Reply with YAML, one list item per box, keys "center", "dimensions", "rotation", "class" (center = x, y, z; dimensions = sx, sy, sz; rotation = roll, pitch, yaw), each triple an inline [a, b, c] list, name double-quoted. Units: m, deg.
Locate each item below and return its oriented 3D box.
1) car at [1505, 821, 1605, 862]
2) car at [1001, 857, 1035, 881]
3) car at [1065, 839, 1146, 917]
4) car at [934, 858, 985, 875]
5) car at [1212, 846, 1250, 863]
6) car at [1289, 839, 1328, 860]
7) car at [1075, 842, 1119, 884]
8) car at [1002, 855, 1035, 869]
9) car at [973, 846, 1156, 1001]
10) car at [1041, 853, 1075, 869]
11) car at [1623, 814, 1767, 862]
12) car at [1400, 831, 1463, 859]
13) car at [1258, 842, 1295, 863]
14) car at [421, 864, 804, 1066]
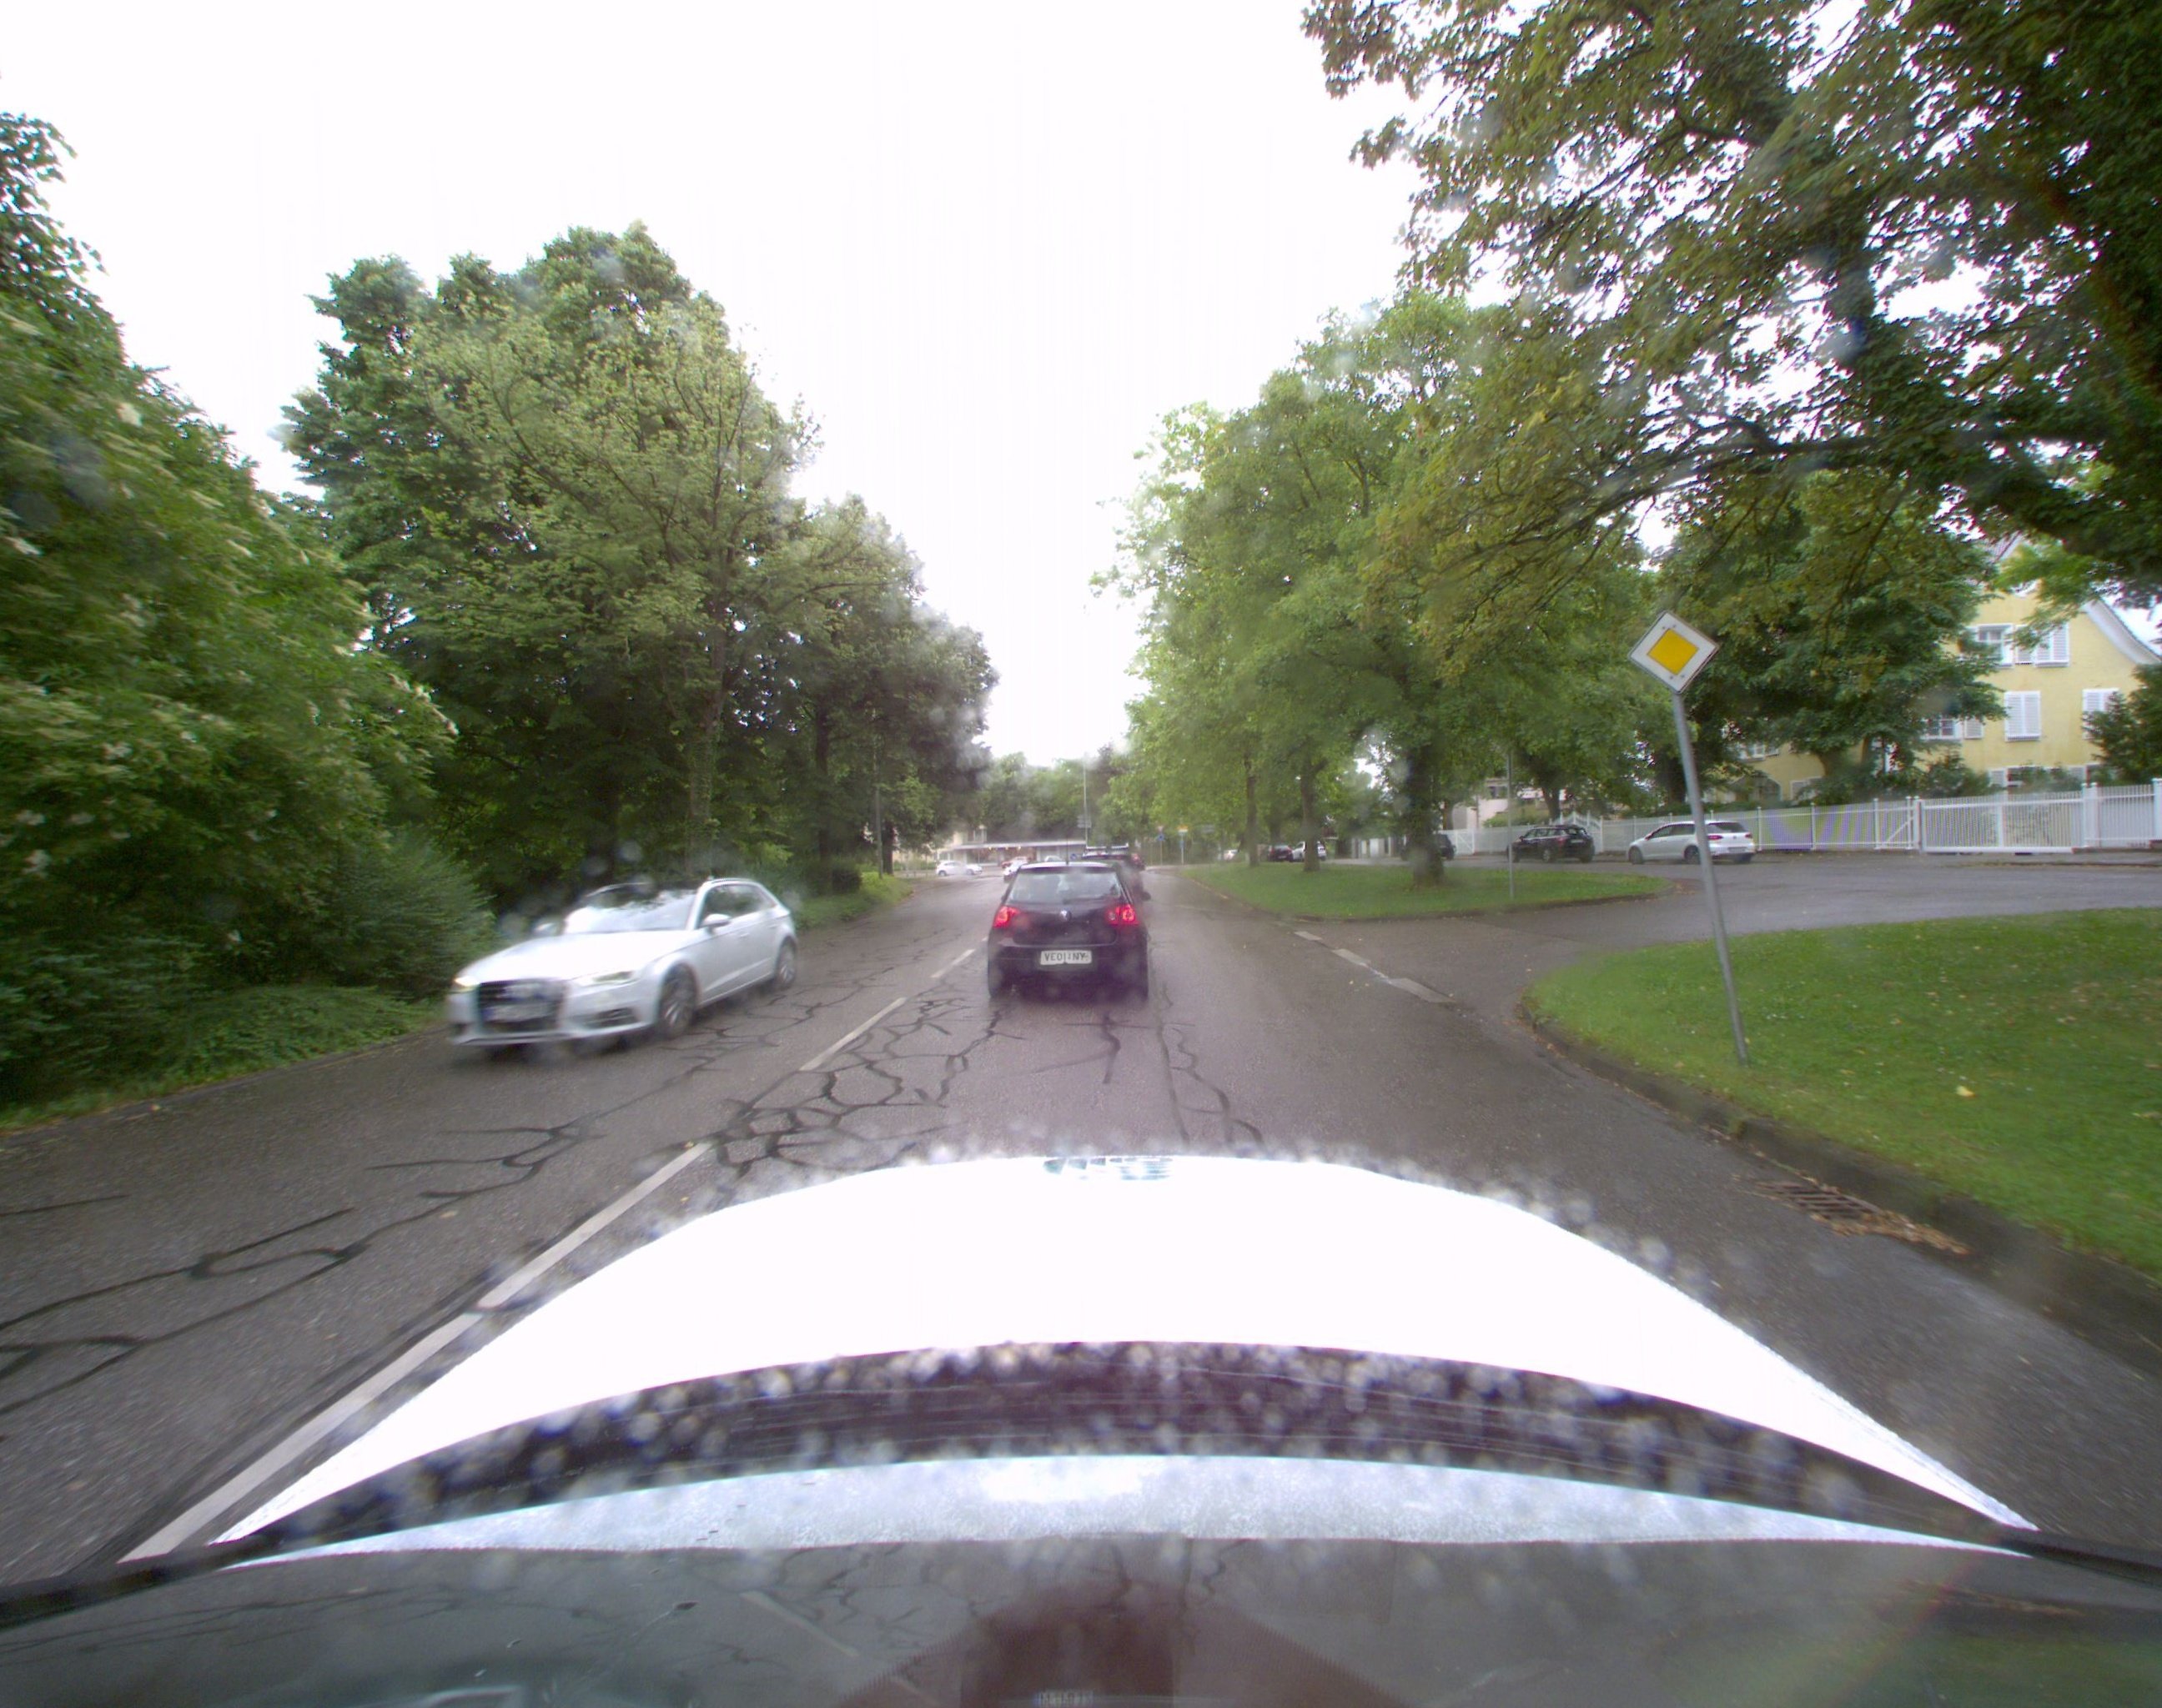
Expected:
- center: [20.002, -0.514, 34.580]
  dimensions: [1.796, 1.529, 4.112]
  rotation: [-3, 1, 0]
  class: "car"
- center: [-3.996, 0.919, 52.199]
  dimensions: [1.791, 1.393, 3.978]
  rotation: [-4, 0, 0]
  class: "car"
- center: [0.675, 0.580, 21.273]
  dimensions: [1.848, 1.784, 4.003]
  rotation: [-2, 0, 3]
  class: "car"
- center: [-11.597, 1.155, 77.906]
  dimensions: [4.479, 1.419, 1.848]
  rotation: [-3, 0, 1]
  class: "car"
- center: [16.914, 0.001, 91.566]
  dimensions: [4.020, 1.706, 1.977]
  rotation: [-3, -1, -39]
  class: "car"
- center: [16.639, -0.324, 59.783]
  dimensions: [1.796, 1.406, 4.003]
  rotation: [-4, 0, 2]
  class: "car"
- center: [0.795, 0.433, 38.217]
  dimensions: [1.848, 1.785, 4.003]
  rotation: [-2, -1, 3]
  class: "car"
- center: [-7.783, 0.964, 101.483]
  dimensions: [3.629, 1.513, 1.721]
  rotation: [-3, -1, 22]
  class: "car"
- center: [-0.071, 0.695, 9.985]
  dimensions: [1.791, 1.515, 3.756]
  rotation: [-1, 0, 3]
  class: "car"
- center: [-2.169, 0.675, 76.576]
  dimensions: [3.112, 1.310, 1.539]
  rotation: [-3, 0, -3]
  class: "car"
- center: [20.284, -0.509, 27.123]
  dimensions: [1.612, 1.409, 4.006]
  rotation: [-3, 1, -2]
  class: "car"
- center: [19.986, -0.527, 46.580]
  dimensions: [1.796, 1.411, 4.112]
  rotation: [-3, 1, 0]
  class: "car"
- center: [14.273, -0.115, 59.600]
  dimensions: [1.796, 1.385, 4.003]
  rotation: [-4, 0, 2]
  class: "car"
- center: [-4.401, 0.906, 8.475]
  dimensions: [1.603, 1.427, 4.008]
  rotation: [-3, 1, 0]
  class: "car"
